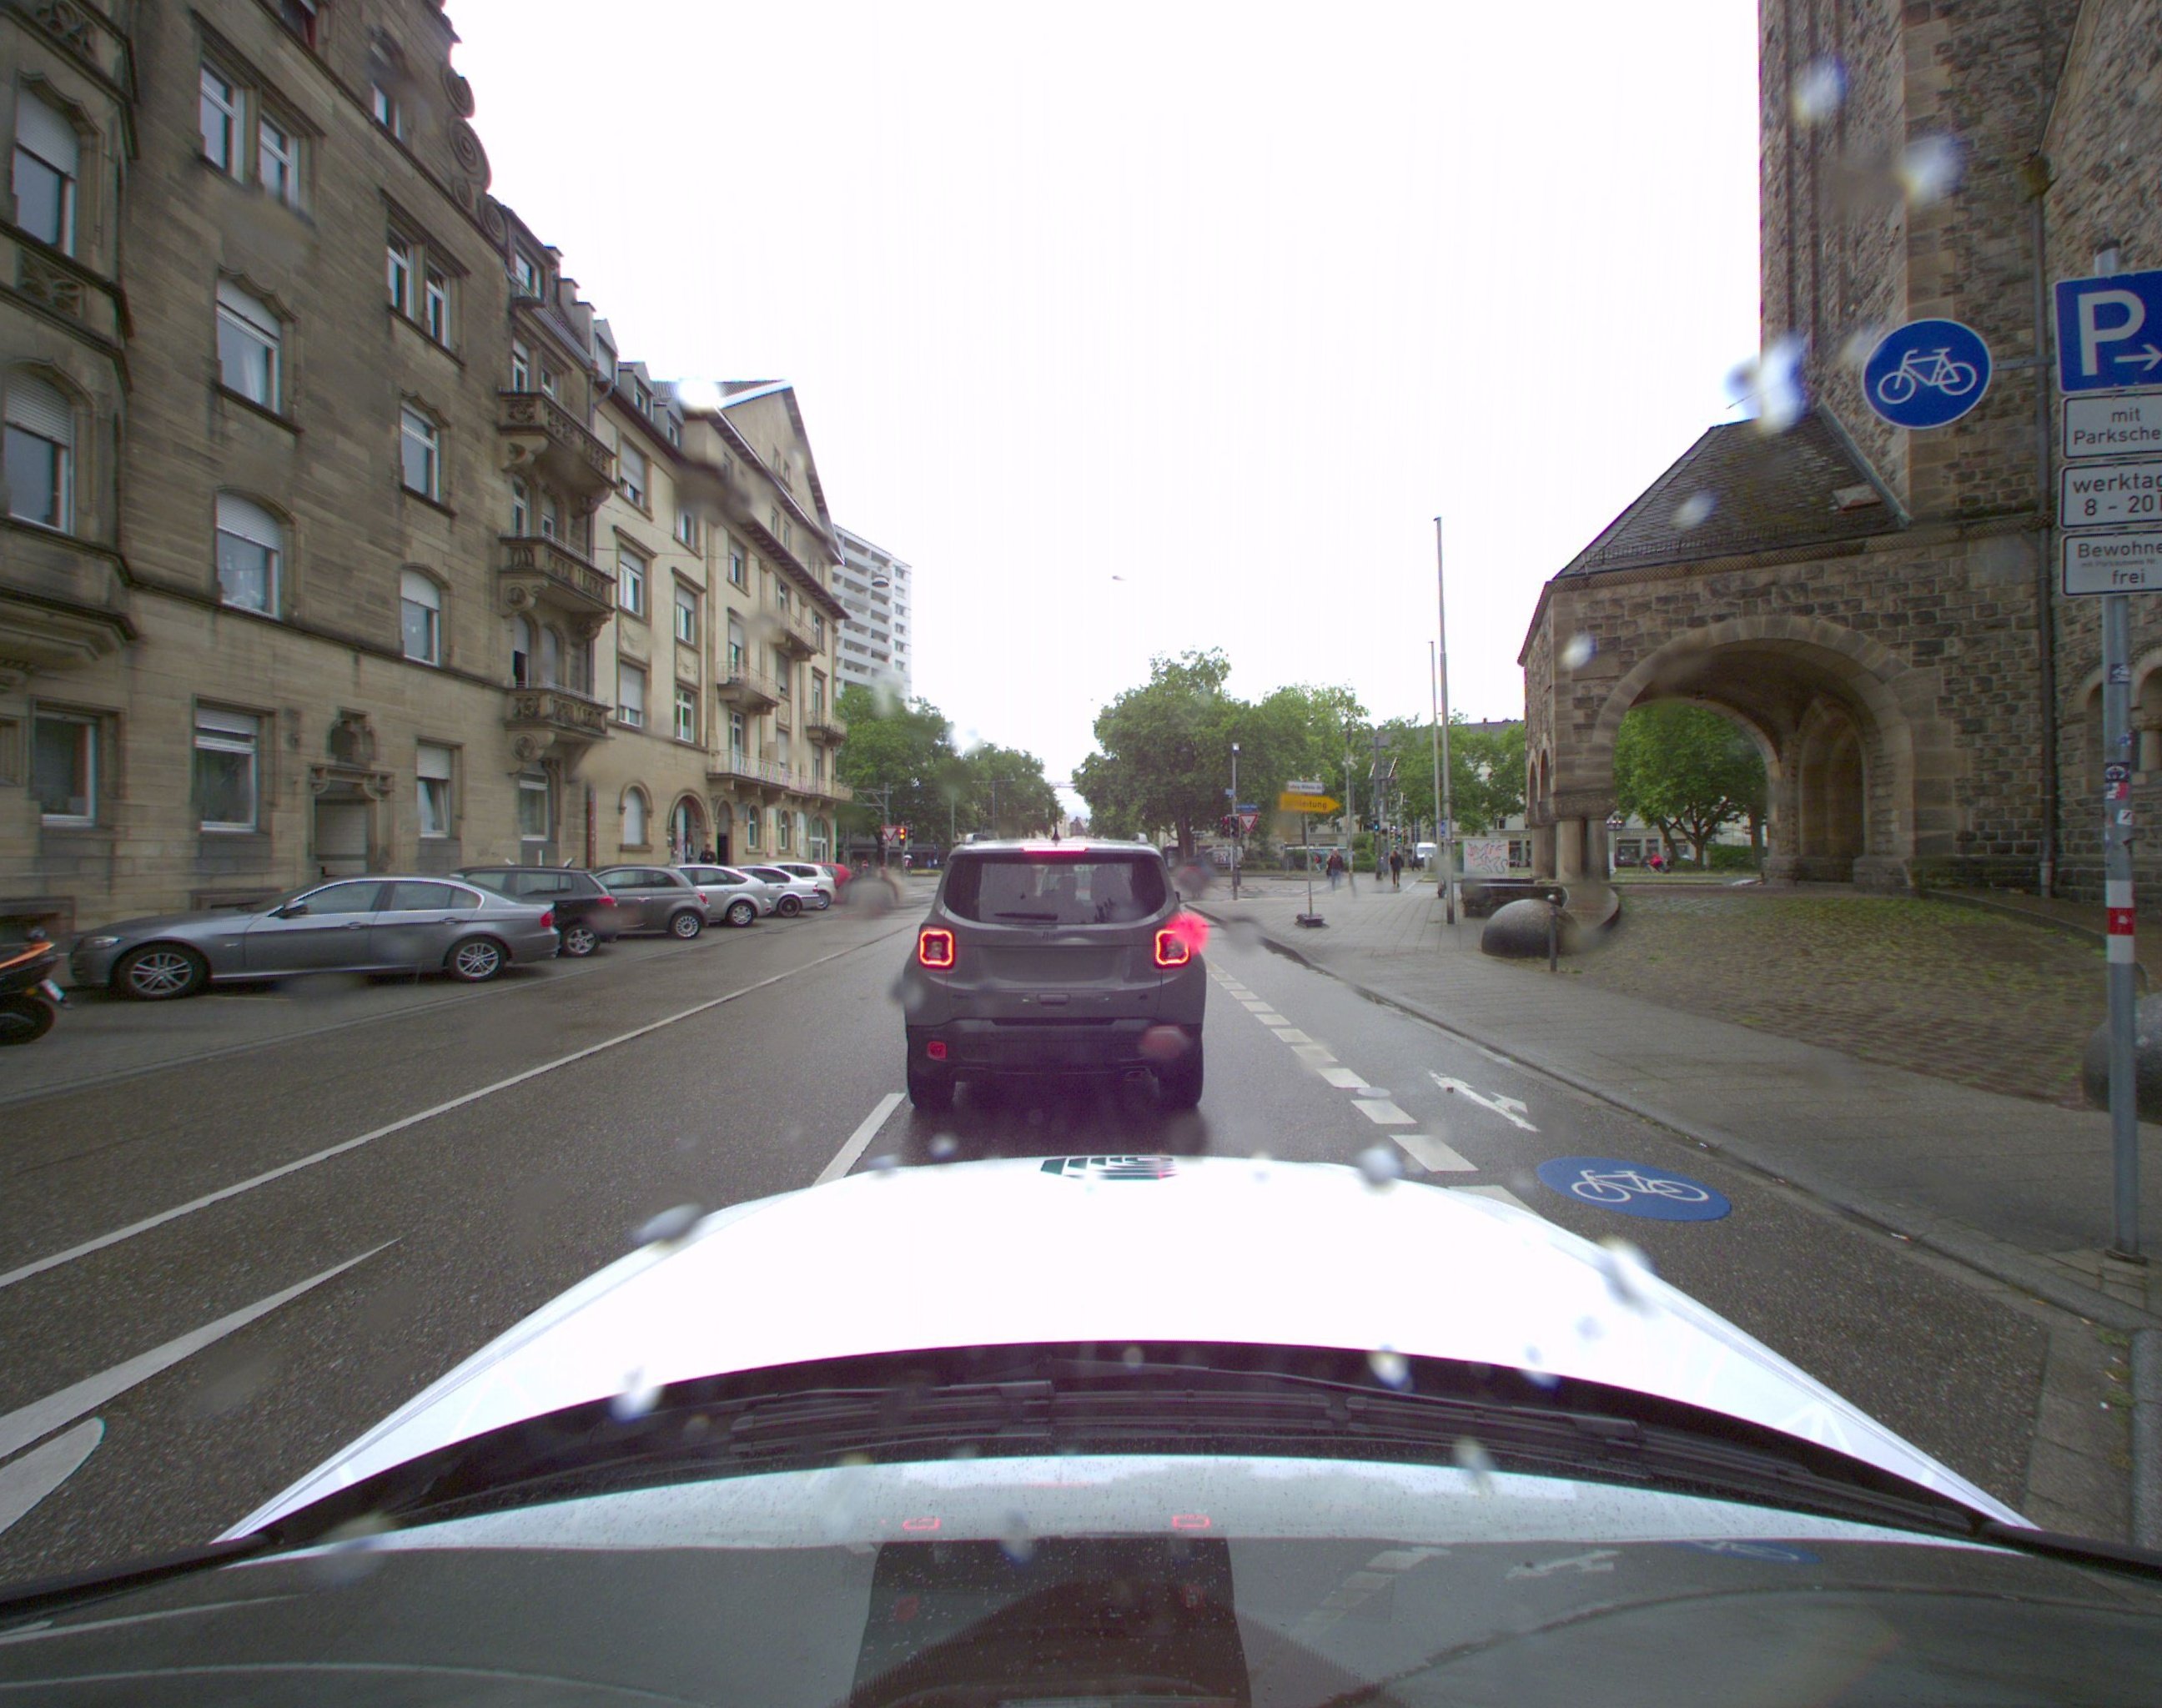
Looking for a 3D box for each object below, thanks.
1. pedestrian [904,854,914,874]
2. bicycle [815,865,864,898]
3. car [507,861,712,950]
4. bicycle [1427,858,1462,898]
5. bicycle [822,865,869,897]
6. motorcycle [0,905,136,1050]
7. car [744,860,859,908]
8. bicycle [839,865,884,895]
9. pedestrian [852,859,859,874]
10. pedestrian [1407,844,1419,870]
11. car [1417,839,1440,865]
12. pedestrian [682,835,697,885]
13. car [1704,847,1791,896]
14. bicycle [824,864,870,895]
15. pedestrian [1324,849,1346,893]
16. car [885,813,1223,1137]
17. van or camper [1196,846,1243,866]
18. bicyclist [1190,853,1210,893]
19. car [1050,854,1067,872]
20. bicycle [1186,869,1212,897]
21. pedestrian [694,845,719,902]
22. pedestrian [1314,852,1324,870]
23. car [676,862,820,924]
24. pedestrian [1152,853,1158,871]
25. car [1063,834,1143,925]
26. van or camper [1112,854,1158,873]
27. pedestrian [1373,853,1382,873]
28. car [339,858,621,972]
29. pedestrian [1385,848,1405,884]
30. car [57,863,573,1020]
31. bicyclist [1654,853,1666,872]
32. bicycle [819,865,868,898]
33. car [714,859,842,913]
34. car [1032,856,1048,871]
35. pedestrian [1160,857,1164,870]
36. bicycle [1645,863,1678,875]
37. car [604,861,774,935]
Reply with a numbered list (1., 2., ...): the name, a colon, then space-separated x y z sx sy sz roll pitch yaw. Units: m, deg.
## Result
1. pedestrian: -15.922 0.929 75.428 0.614 1.826 0.697 -2 -1 15
2. bicycle: -9.587 1.099 32.339 1.758 1.266 0.522 -1 -1 -1
3. car: -9.531 0.958 16.558 3.419 1.558 1.634 -1 0 -38
4. bicycle: 10.987 0.714 24.658 0.327 1.154 2.079 -1 0 7
5. bicycle: -9.701 1.106 33.572 1.804 1.266 0.498 -1 -1 -1
6. motorcycle: -9.401 1.028 6.769 1.880 1.162 0.627 2 -2 -36
7. car: -9.761 1.001 28.509 3.419 1.558 1.686 -1 0 -38
8. bicycle: -9.562 1.140 35.478 1.758 1.266 0.608 -1 -1 -1
9. pedestrian: -23.468 1.312 84.753 0.438 1.530 0.646 -1 -1 20
10. pedestrian: 26.459 0.258 64.974 0.798 2.014 0.593 -1 -1 28
11. car: 35.513 -0.164 83.206 1.889 2.555 4.815 -1 0 25
12. pedestrian: -14.433 0.226 30.036 0.365 1.823 0.347 -2 -1 -1
13. car: 21.446 0.532 26.312 1.389 1.479 3.239 -1 0 25
14. bicycle: -9.944 1.099 34.606 1.758 1.266 0.608 -1 -1 -1
15. pedestrian: 10.291 0.672 32.989 0.780 1.759 0.949 -2 -1 16
16. car: -0.121 0.652 6.307 1.769 1.687 3.848 -2 0 1
17. van or camper: 16.008 0.220 94.612 5.234 2.315 2.093 0 0 5
18. bicyclist: 4.949 0.774 33.793 0.682 1.617 0.887 -2 0 15
19. car: -2.370 0.917 84.729 1.717 1.739 3.726 -1 0 -2
20. bicycle: 4.887 1.177 33.687 0.686 1.021 2.669 -2 0 16
21. pedestrian: -13.425 0.696 29.239 0.565 2.014 0.655 -1 -1 1
22. pedestrian: 19.853 0.593 67.938 0.667 1.554 0.766 -1 -2 29
23. car: -9.278 1.018 22.769 3.419 1.558 1.686 -1 0 -38
24. pedestrian: 8.419 0.915 92.623 0.646 2.014 0.484 -1 -1 14
25. car: 0.531 0.581 20.217 1.764 2.013 4.001 -1 0 1
26. van or camper: 8.212 1.467 124.764 6.466 2.912 2.509 -1 0 26
27. pedestrian: 24.090 0.720 66.250 0.607 1.603 0.497 -1 -1 26
28. car: -9.773 0.901 13.474 3.571 1.598 1.587 -1 0 -38
29. pedestrian: 14.858 0.563 38.512 0.775 1.645 0.659 -2 -1 25
30. car: -9.404 0.930 10.544 4.573 1.545 1.668 -1 0 -42
31. bicyclist: 38.613 0.583 54.300 0.518 1.250 0.656 -1 -1 23
32. bicycle: -9.590 1.093 32.886 1.804 1.266 0.498 -1 -1 -1
33. car: -9.503 0.961 25.633 3.419 1.558 1.686 -1 0 -38
34. car: -4.690 1.076 93.822 1.810 1.670 3.916 -1 0 -3
35. pedestrian: 9.967 1.171 100.624 0.456 1.704 0.424 -1 -1 2
36. bicycle: 38.687 0.992 54.252 1.683 0.719 0.656 -1 0 22
37. car: -9.383 0.984 19.586 3.419 1.558 1.686 -1 0 -38
